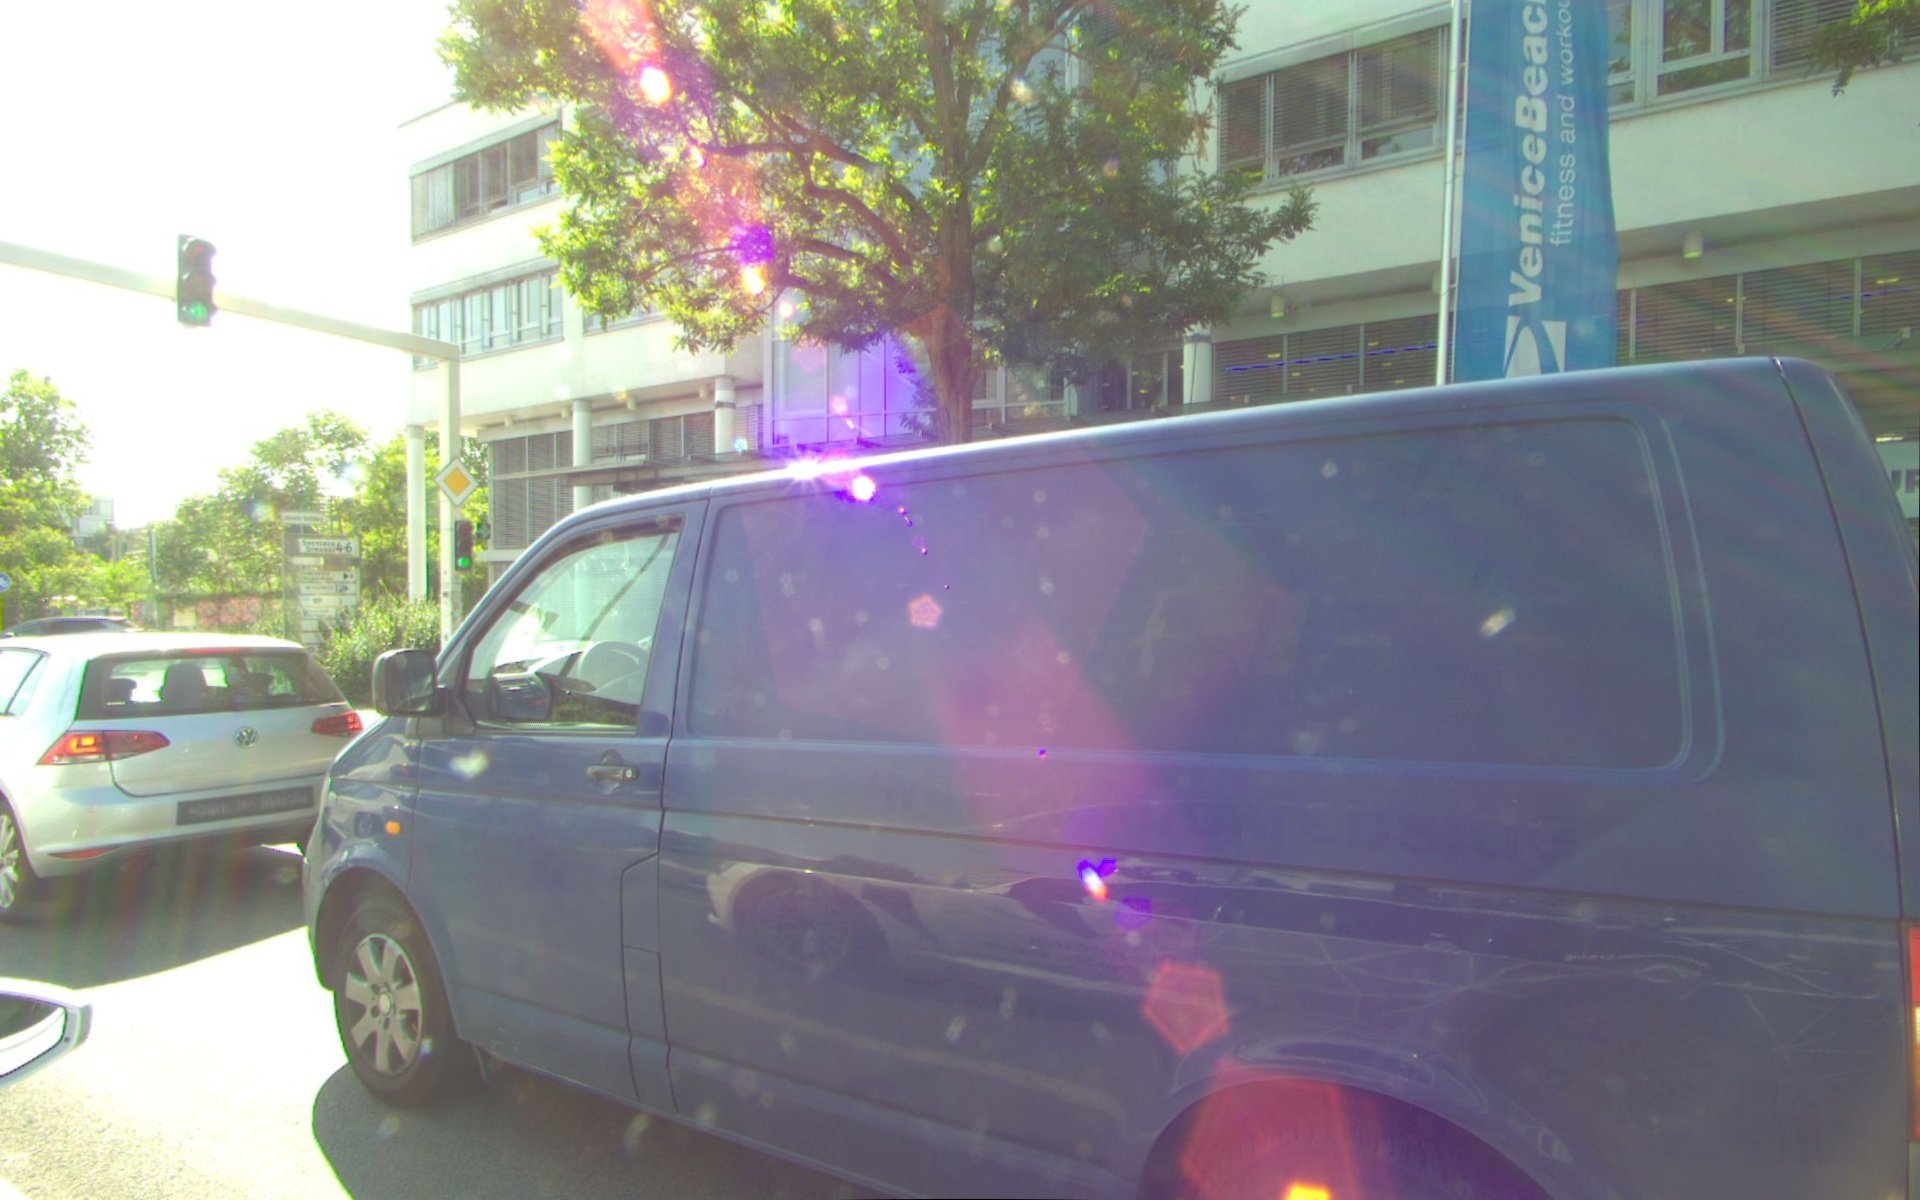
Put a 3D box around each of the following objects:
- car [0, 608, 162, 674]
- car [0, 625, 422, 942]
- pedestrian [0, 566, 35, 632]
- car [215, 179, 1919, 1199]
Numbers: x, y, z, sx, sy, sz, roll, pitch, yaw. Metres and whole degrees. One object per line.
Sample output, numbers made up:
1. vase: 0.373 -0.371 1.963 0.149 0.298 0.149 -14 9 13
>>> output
1. car: -25.328 1.135 28.155 4.379 1.572 1.984 -3 2 -38
2. car: -5.505 0.919 6.472 3.942 1.448 1.804 -1 -1 31
3. pedestrian: -30.082 -0.025 31.629 1.023 2.040 1.025 0 0 32
4. car: -0.112 0.538 3.166 4.821 1.973 1.989 -1 -1 32
